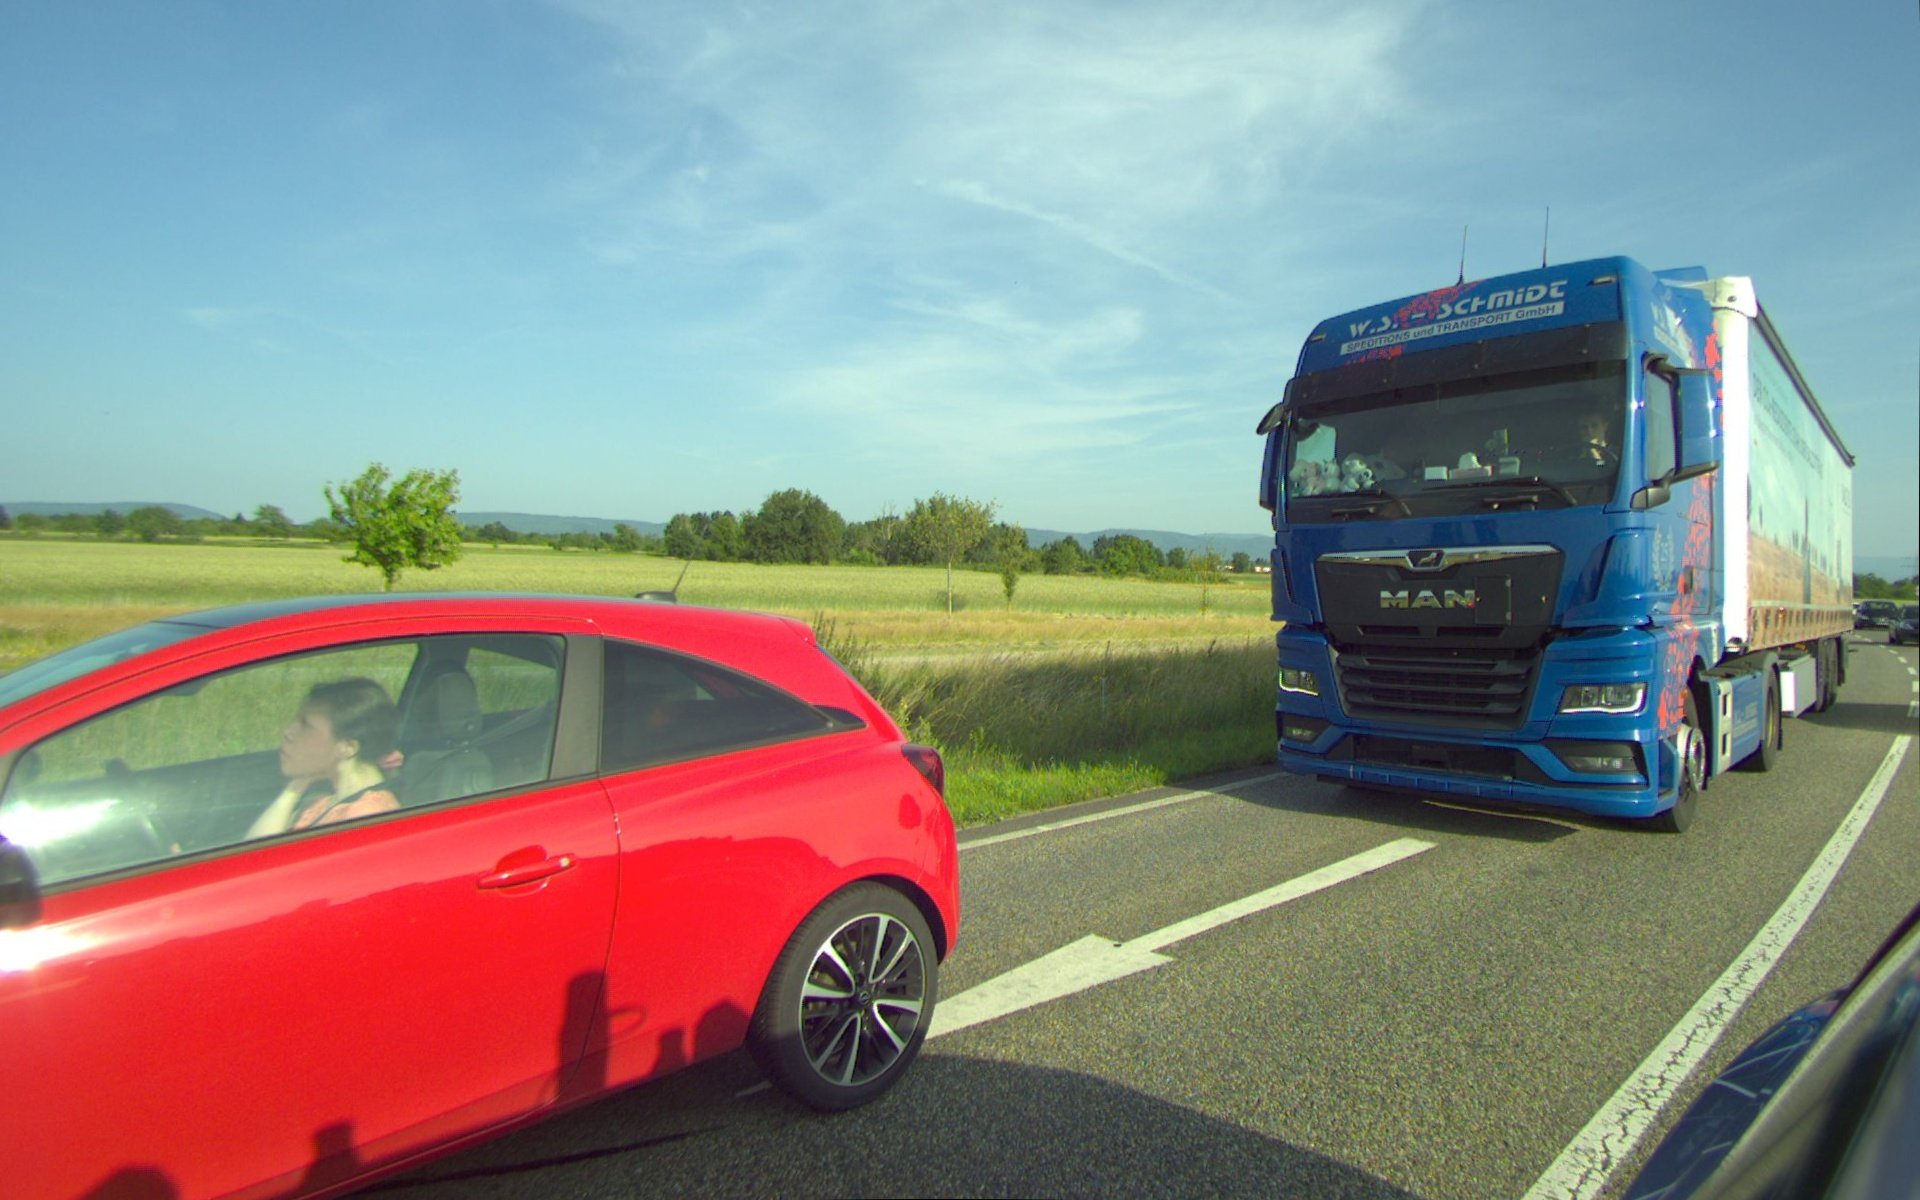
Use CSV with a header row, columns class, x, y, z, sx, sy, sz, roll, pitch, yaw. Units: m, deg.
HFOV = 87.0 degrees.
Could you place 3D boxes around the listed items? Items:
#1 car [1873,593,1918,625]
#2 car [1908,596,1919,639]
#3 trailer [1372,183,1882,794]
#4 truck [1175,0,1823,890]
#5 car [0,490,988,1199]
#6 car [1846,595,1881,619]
class,x,y,z,sx,sy,sz,roll,pitch,yaw
car,49.365,0.452,53.445,1.551,1.579,3.005,2,1,40
car,35.251,0.622,36.305,1.579,1.523,3.607,2,1,40
trailer,9.848,-0.947,13.639,3.283,4.740,12.935,0,1,45
truck,4.760,-0.891,8.449,5.639,4.716,3.302,0,1,-45
car,-1.823,0.582,2.561,3.688,1.568,1.698,0,1,-44
car,58.456,0.422,65.525,1.551,1.417,3.977,2,1,40
